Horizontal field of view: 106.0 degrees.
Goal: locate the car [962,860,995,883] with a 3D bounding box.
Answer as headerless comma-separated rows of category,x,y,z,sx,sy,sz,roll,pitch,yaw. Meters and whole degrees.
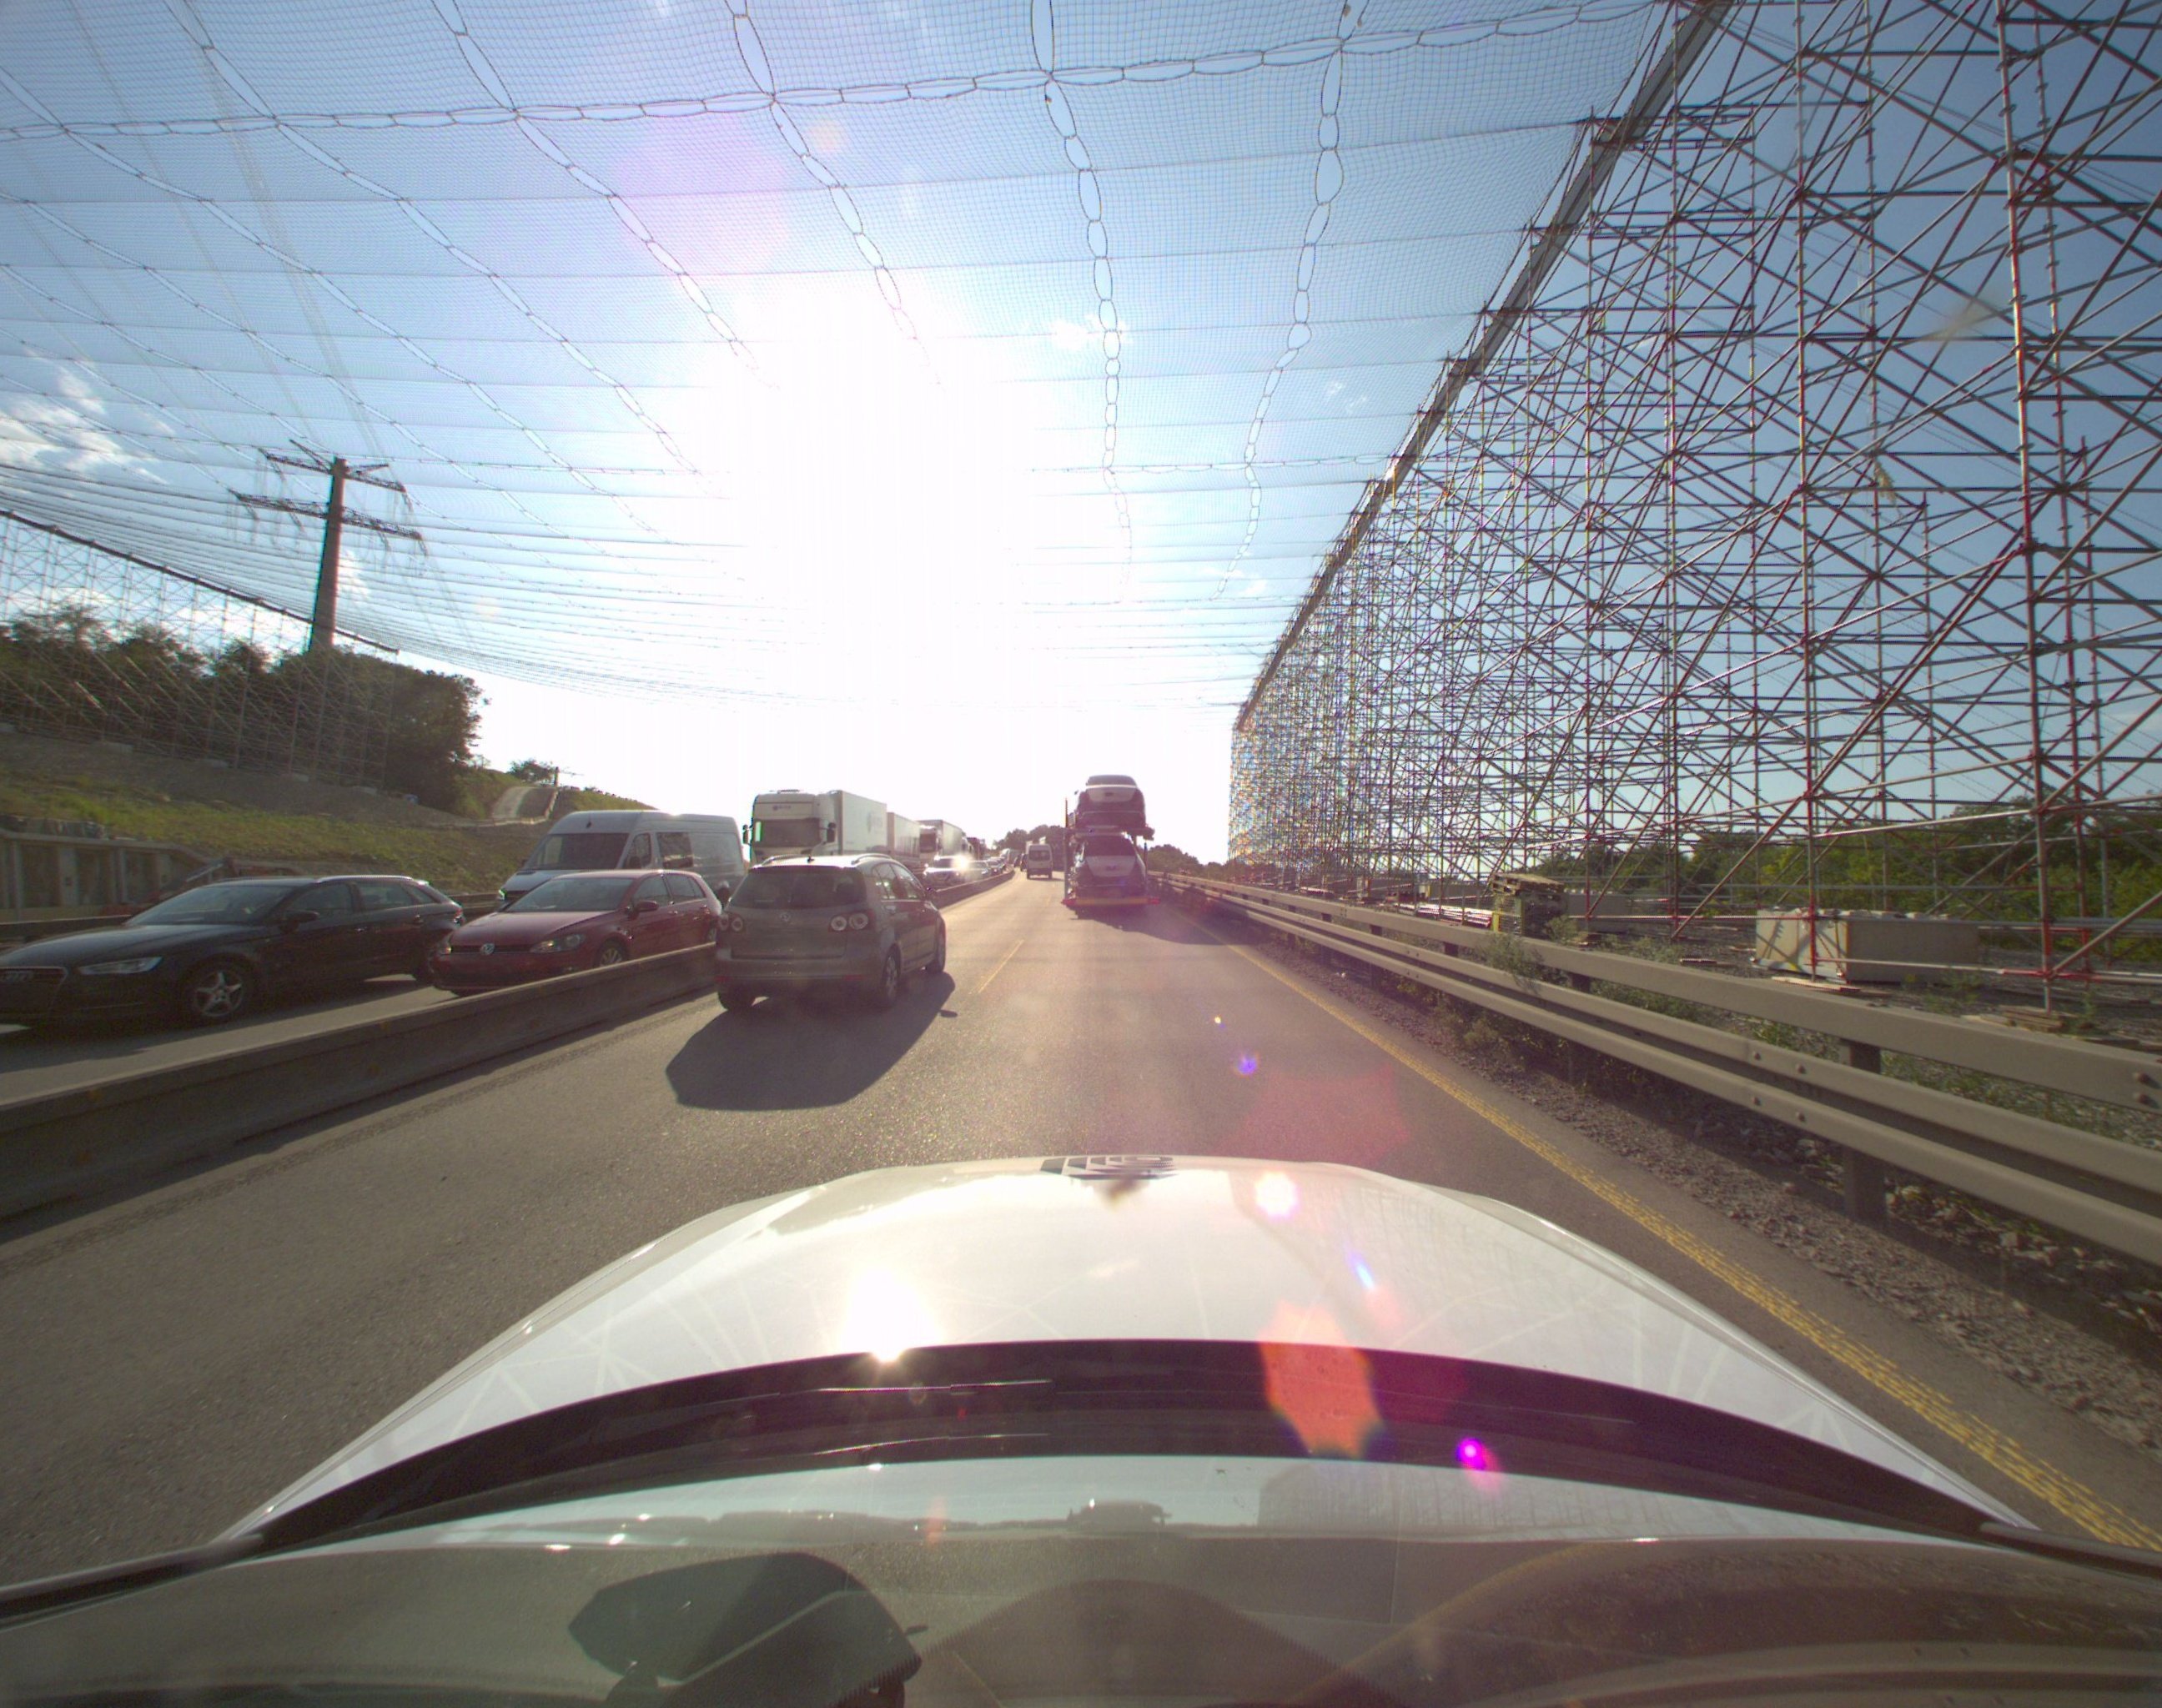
car,-6.886,1.141,55.122,1.773,1.450,4.658,0,-1,-3

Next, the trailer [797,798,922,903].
trailer,-9.854,-0.087,38.089,2.663,4.016,13.321,0,-1,-2

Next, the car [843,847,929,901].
car,-6.085,0.601,25.868,1.803,1.568,4.362,0,-1,-2

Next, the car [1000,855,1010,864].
car,-15.329,1.117,164.364,1.834,1.836,3.993,0,-1,-5

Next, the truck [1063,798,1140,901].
truck,0.735,-0.131,35.349,2.829,3.792,9.983,0,-1,0

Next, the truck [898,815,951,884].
truck,-9.625,-0.240,50.568,2.468,4.046,5.610,0,-1,-3

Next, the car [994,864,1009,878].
car,-9.150,1.899,93.719,1.748,1.587,3.935,0,-1,-6

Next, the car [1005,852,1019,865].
car,-9.748,0.692,115.725,1.822,1.772,3.994,0,-1,-4

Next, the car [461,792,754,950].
car,-9.607,0.320,17.641,2.234,2.713,7.080,0,-1,0

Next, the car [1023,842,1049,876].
car,-3.538,0.395,63.639,1.917,2.492,5.400,0,-1,-4

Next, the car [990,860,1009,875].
car,-8.172,1.324,81.902,1.790,1.398,4.237,0,-1,-4

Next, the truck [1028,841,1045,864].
truck,-7.252,-0.198,131.684,2.527,3.648,8.888,0,-1,-5

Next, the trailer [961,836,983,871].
trailer,-12.605,-0.003,94.651,2.304,3.790,12.024,0,-1,-6

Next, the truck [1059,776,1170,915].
truck,0.819,-0.186,25.897,2.790,3.497,10.602,0,-1,0

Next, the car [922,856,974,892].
car,-6.108,0.901,37.732,1.803,1.568,4.362,0,-1,-2

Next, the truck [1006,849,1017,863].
truck,-15.811,0.486,185.589,2.586,3.170,6.666,0,-1,-4

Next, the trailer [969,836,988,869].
trailer,-14.267,-0.143,113.393,2.474,4.328,10.484,0,-1,-7

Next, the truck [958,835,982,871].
truck,-12.029,-0.061,88.686,2.429,3.785,5.605,0,-1,-6

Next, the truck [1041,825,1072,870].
truck,-3.116,-0.696,100.072,3.280,5.237,9.919,0,-1,-5

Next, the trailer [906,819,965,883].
trailer,-10.051,-0.140,57.658,2.422,3.963,14.079,0,-1,-4

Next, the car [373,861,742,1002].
car,-6.276,0.805,10.561,1.802,1.419,4.518,0,-1,1

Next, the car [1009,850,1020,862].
car,-11.095,0.344,135.353,1.629,2.014,3.989,0,-1,-8

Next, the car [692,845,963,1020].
car,-2.620,0.739,9.469,1.684,1.596,4.003,0,-1,3

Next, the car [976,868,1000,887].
car,-7.180,1.788,63.146,1.604,1.376,3.896,0,-1,-3

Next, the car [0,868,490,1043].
car,-9.158,0.908,9.129,1.785,1.437,4.382,0,-1,1

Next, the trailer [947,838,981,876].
trailer,-11.098,0.347,78.111,2.302,3.362,12.036,0,-1,-4

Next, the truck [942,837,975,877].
truck,-10.717,0.275,71.707,2.409,3.370,5.610,0,-1,-4

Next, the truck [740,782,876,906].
truck,-9.531,-0.286,29.336,2.623,3.910,7.200,0,-1,-1
